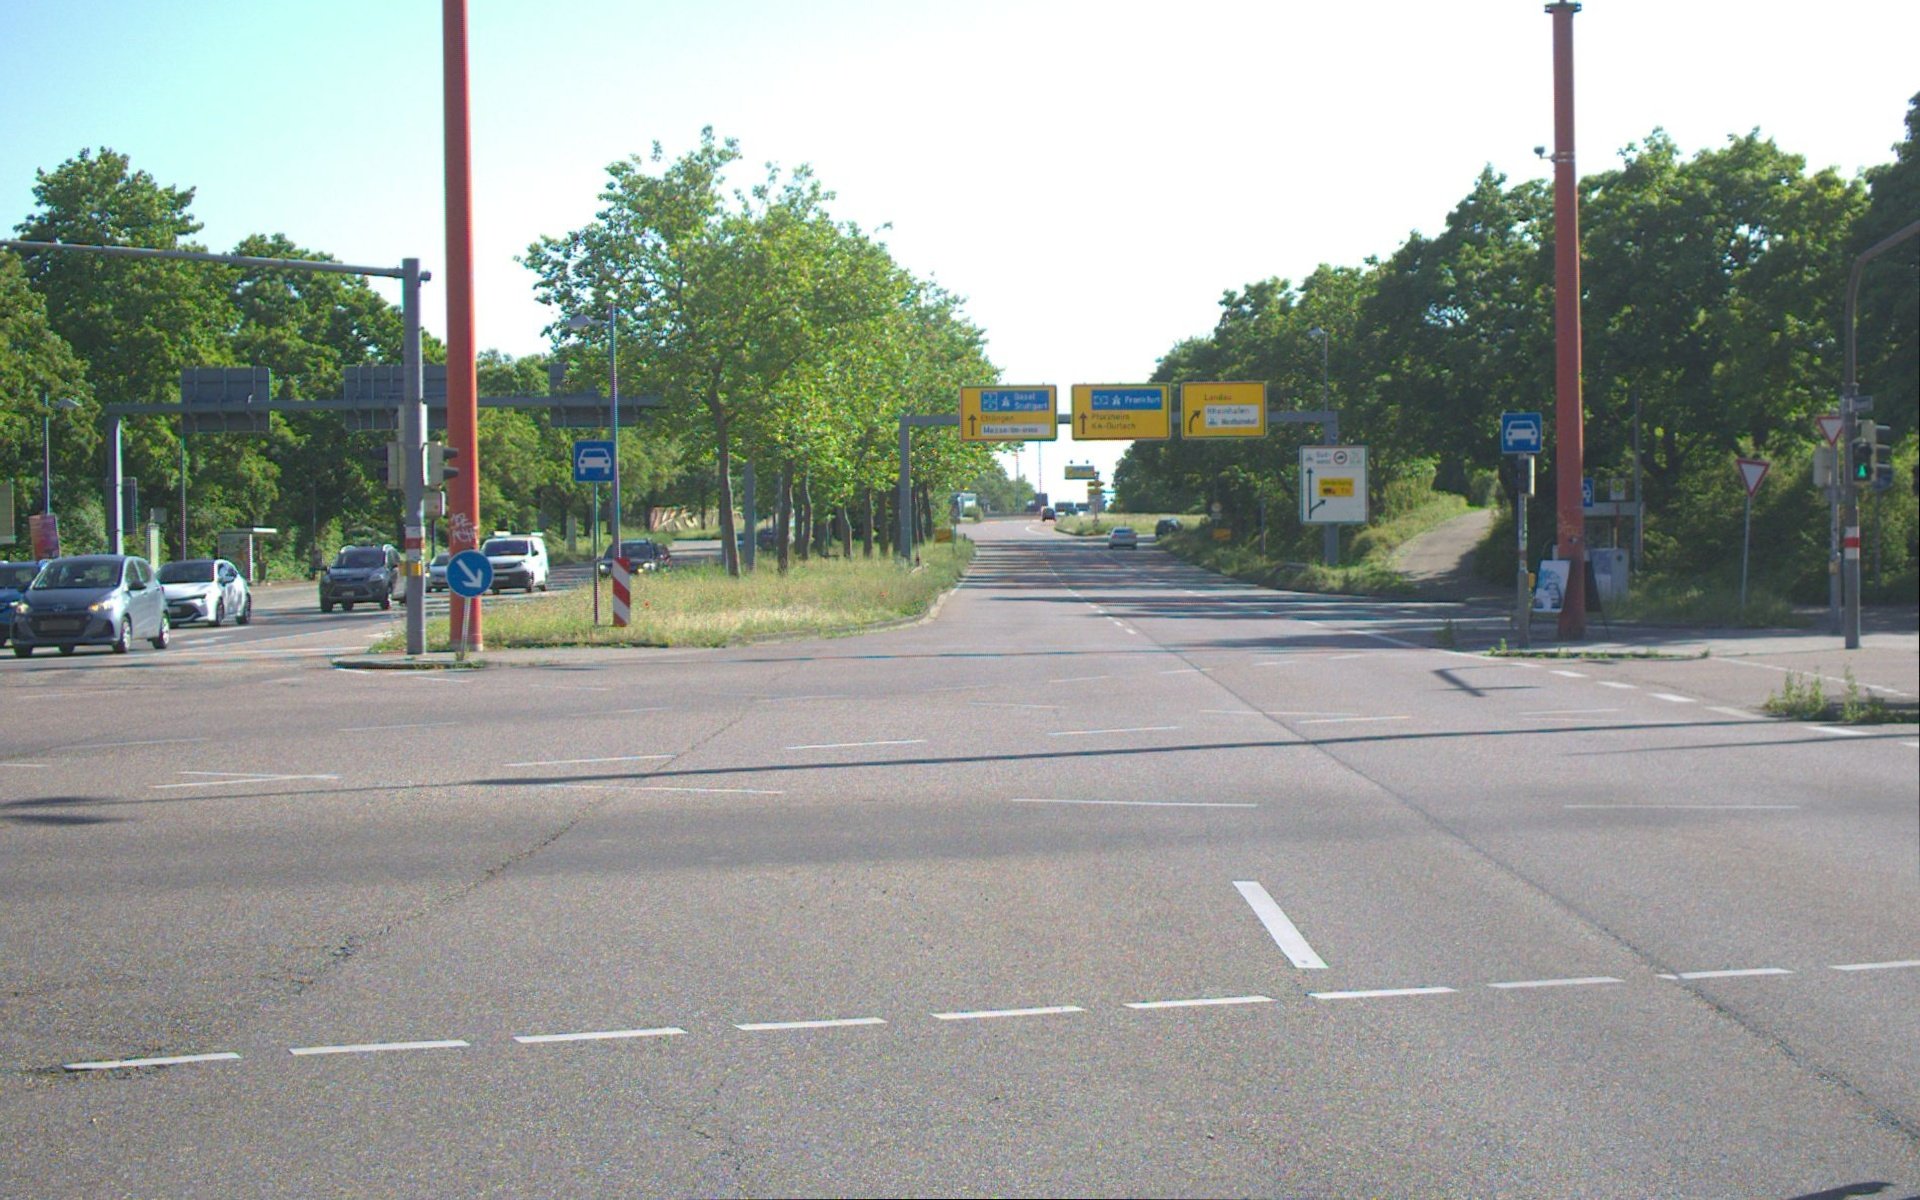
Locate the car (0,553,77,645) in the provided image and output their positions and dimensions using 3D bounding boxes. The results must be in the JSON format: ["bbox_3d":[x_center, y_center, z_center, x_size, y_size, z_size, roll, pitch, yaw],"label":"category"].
[{"bbox_3d":[-16.715,-0.044,59.668,1.704,1.553,3.803,1,1,2],"label":"car"}]

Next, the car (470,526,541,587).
[{"bbox_3d":[-15.298,-1.454,115.929,2.003,2.007,4.000,1,1,-2],"label":"car"}]

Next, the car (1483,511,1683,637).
[{"bbox_3d":[9.758,-0.424,53.631,1.996,1.881,3.994,0,1,27],"label":"car"}]

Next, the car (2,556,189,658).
[{"bbox_3d":[-13.051,0.083,52.115,1.701,1.416,4.000,3,0,1],"label":"car"}]

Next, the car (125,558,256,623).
[{"bbox_3d":[-16.310,-0.214,73.000,2.003,1.303,4.000,0,1,-2],"label":"car"}]

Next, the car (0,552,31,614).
[{"bbox_3d":[-23.380,-0.416,81.832,1.531,1.444,3.705,1,1,0],"label":"car"}]

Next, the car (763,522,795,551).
[{"bbox_3d":[-11.906,-4.179,226.392,2.003,1.852,4.000,1,1,-2],"label":"car"}]

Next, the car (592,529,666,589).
[{"bbox_3d":[-9.804,-1.207,102.105,1.657,1.741,4.000,1,1,2],"label":"car"}]

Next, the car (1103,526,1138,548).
[{"bbox_3d":[10.453,-4.096,223.893,2.054,1.366,4.392,0,1,-1],"label":"car"}]

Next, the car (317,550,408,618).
[{"bbox_3d":[-15.882,-0.441,91.602,1.625,1.733,4.000,0,1,1],"label":"car"}]
